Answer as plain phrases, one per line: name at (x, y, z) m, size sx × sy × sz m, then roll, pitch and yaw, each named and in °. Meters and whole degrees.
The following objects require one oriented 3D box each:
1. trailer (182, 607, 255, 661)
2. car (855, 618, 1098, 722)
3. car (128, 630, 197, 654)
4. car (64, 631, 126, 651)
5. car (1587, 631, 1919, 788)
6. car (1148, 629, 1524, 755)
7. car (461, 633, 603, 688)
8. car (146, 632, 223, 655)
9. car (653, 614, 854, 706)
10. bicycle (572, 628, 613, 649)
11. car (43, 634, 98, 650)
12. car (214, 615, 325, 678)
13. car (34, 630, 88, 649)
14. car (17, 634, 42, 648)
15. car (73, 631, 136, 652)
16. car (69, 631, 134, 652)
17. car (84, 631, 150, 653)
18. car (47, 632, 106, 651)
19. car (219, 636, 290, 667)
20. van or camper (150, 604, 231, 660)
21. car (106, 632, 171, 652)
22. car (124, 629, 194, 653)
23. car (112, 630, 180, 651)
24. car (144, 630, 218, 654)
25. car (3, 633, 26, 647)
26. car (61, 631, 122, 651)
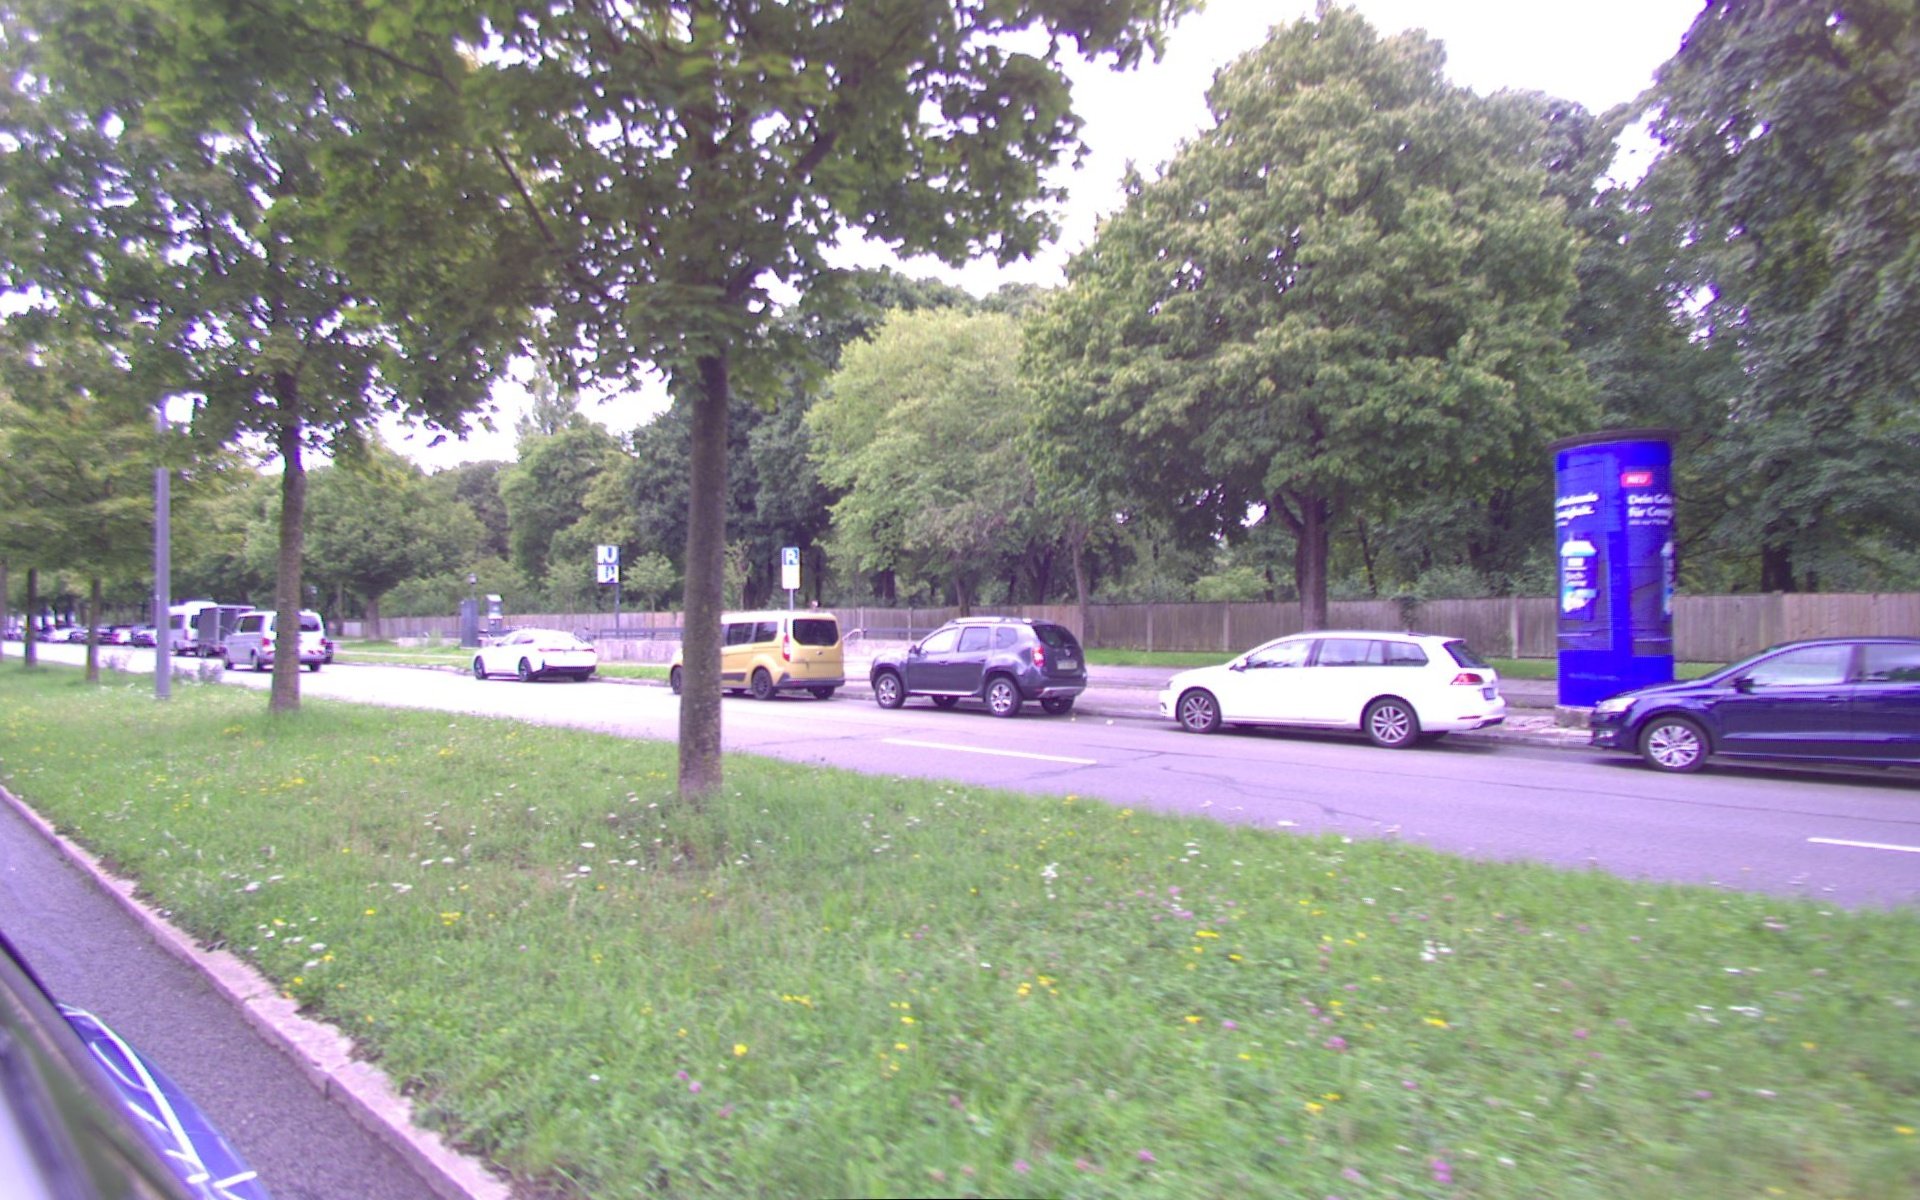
trailer at (-37.547, 1.745, 51.201) m, size 4.656 × 2.610 × 1.995 m, roll -2°, pitch -3°, yaw 41°
car at (0.213, 1.198, 18.194) m, size 4.253 × 1.658 × 1.719 m, roll -2°, pitch -3°, yaw 41°
car at (-59.271, 3.090, 75.295) m, size 1.780 × 1.497 × 3.992 m, roll -2°, pitch 0°, yaw 6°
car at (-77.857, 3.670, 91.197) m, size 1.870 × 1.569 × 3.989 m, roll -2°, pitch 0°, yaw 9°
car at (8.787, 1.047, 10.315) m, size 3.893 × 1.428 × 1.597 m, roll -2°, pitch -3°, yaw 39°
car at (5.020, 1.152, 13.925) m, size 4.530 × 1.461 × 1.744 m, roll -2°, pitch -3°, yaw 41°
car at (-12.497, 1.717, 29.418) m, size 4.872 × 1.484 × 1.837 m, roll -2°, pitch -3°, yaw 41°
car at (-54.266, 3.021, 70.933) m, size 1.780 × 1.449 × 4.315 m, roll -1°, pitch 0°, yaw 7°
car at (-4.593, 1.270, 22.099) m, size 4.816 × 1.796 × 1.795 m, roll -2°, pitch -3°, yaw 42°
bicycle at (-17.357, 1.823, 47.832) m, size 0.432 × 0.937 × 1.801 m, roll -2°, pitch -1°, yaw 40°
car at (-87.148, 4.088, 99.195) m, size 1.574 × 1.376 × 3.987 m, roll -1°, pitch 0°, yaw 10°
car at (-23.113, 1.527, 33.823) m, size 4.991 × 1.948 × 1.781 m, roll -1°, pitch -3°, yaw 41°
car at (-92.027, 4.049, 103.675) m, size 1.760 × 1.741 × 3.992 m, roll -1°, pitch 0°, yaw 7°
car at (-101.207, 4.457, 110.110) m, size 1.864 × 1.454 × 4.171 m, roll -1°, pitch -1°, yaw -45°
car at (-75.548, 3.647, 89.392) m, size 1.870 × 1.569 × 3.989 m, roll -2°, pitch 0°, yaw 9°
car at (-73.221, 3.540, 86.381) m, size 1.870 × 1.569 × 3.989 m, roll -2°, pitch 0°, yaw 9°
car at (-70.883, 3.493, 85.166) m, size 1.873 × 1.569 × 3.983 m, roll -2°, pitch 0°, yaw 13°
car at (-84.687, 3.938, 97.065) m, size 1.870 × 1.569 × 3.989 m, roll -2°, pitch 0°, yaw 9°
car at (-33.235, 2.392, 47.635) m, size 4.236 × 1.394 × 1.781 m, roll -2°, pitch -3°, yaw 41°
van or camper at (-42.069, 1.776, 55.228) m, size 7.543 × 2.859 × 2.013 m, roll -2°, pitch -3°, yaw 42°
car at (-68.083, 3.455, 83.957) m, size 1.723 × 1.466 × 3.983 m, roll -2°, pitch 0°, yaw 13°
car at (-61.312, 3.108, 77.510) m, size 1.783 × 1.599 × 3.985 m, roll -2°, pitch 0°, yaw 12°
car at (-65.835, 3.246, 81.905) m, size 1.873 × 1.474 × 3.983 m, roll -2°, pitch 0°, yaw 13°
car at (-56.699, 3.030, 73.716) m, size 1.780 × 1.585 × 4.315 m, roll -1°, pitch 0°, yaw 7°
car at (-110.160, 4.649, 117.916) m, size 1.864 × 1.454 × 4.171 m, roll -1°, pitch -1°, yaw -45°
car at (-80.312, 3.790, 93.665) m, size 1.870 × 1.569 × 3.989 m, roll -2°, pitch 0°, yaw 9°
